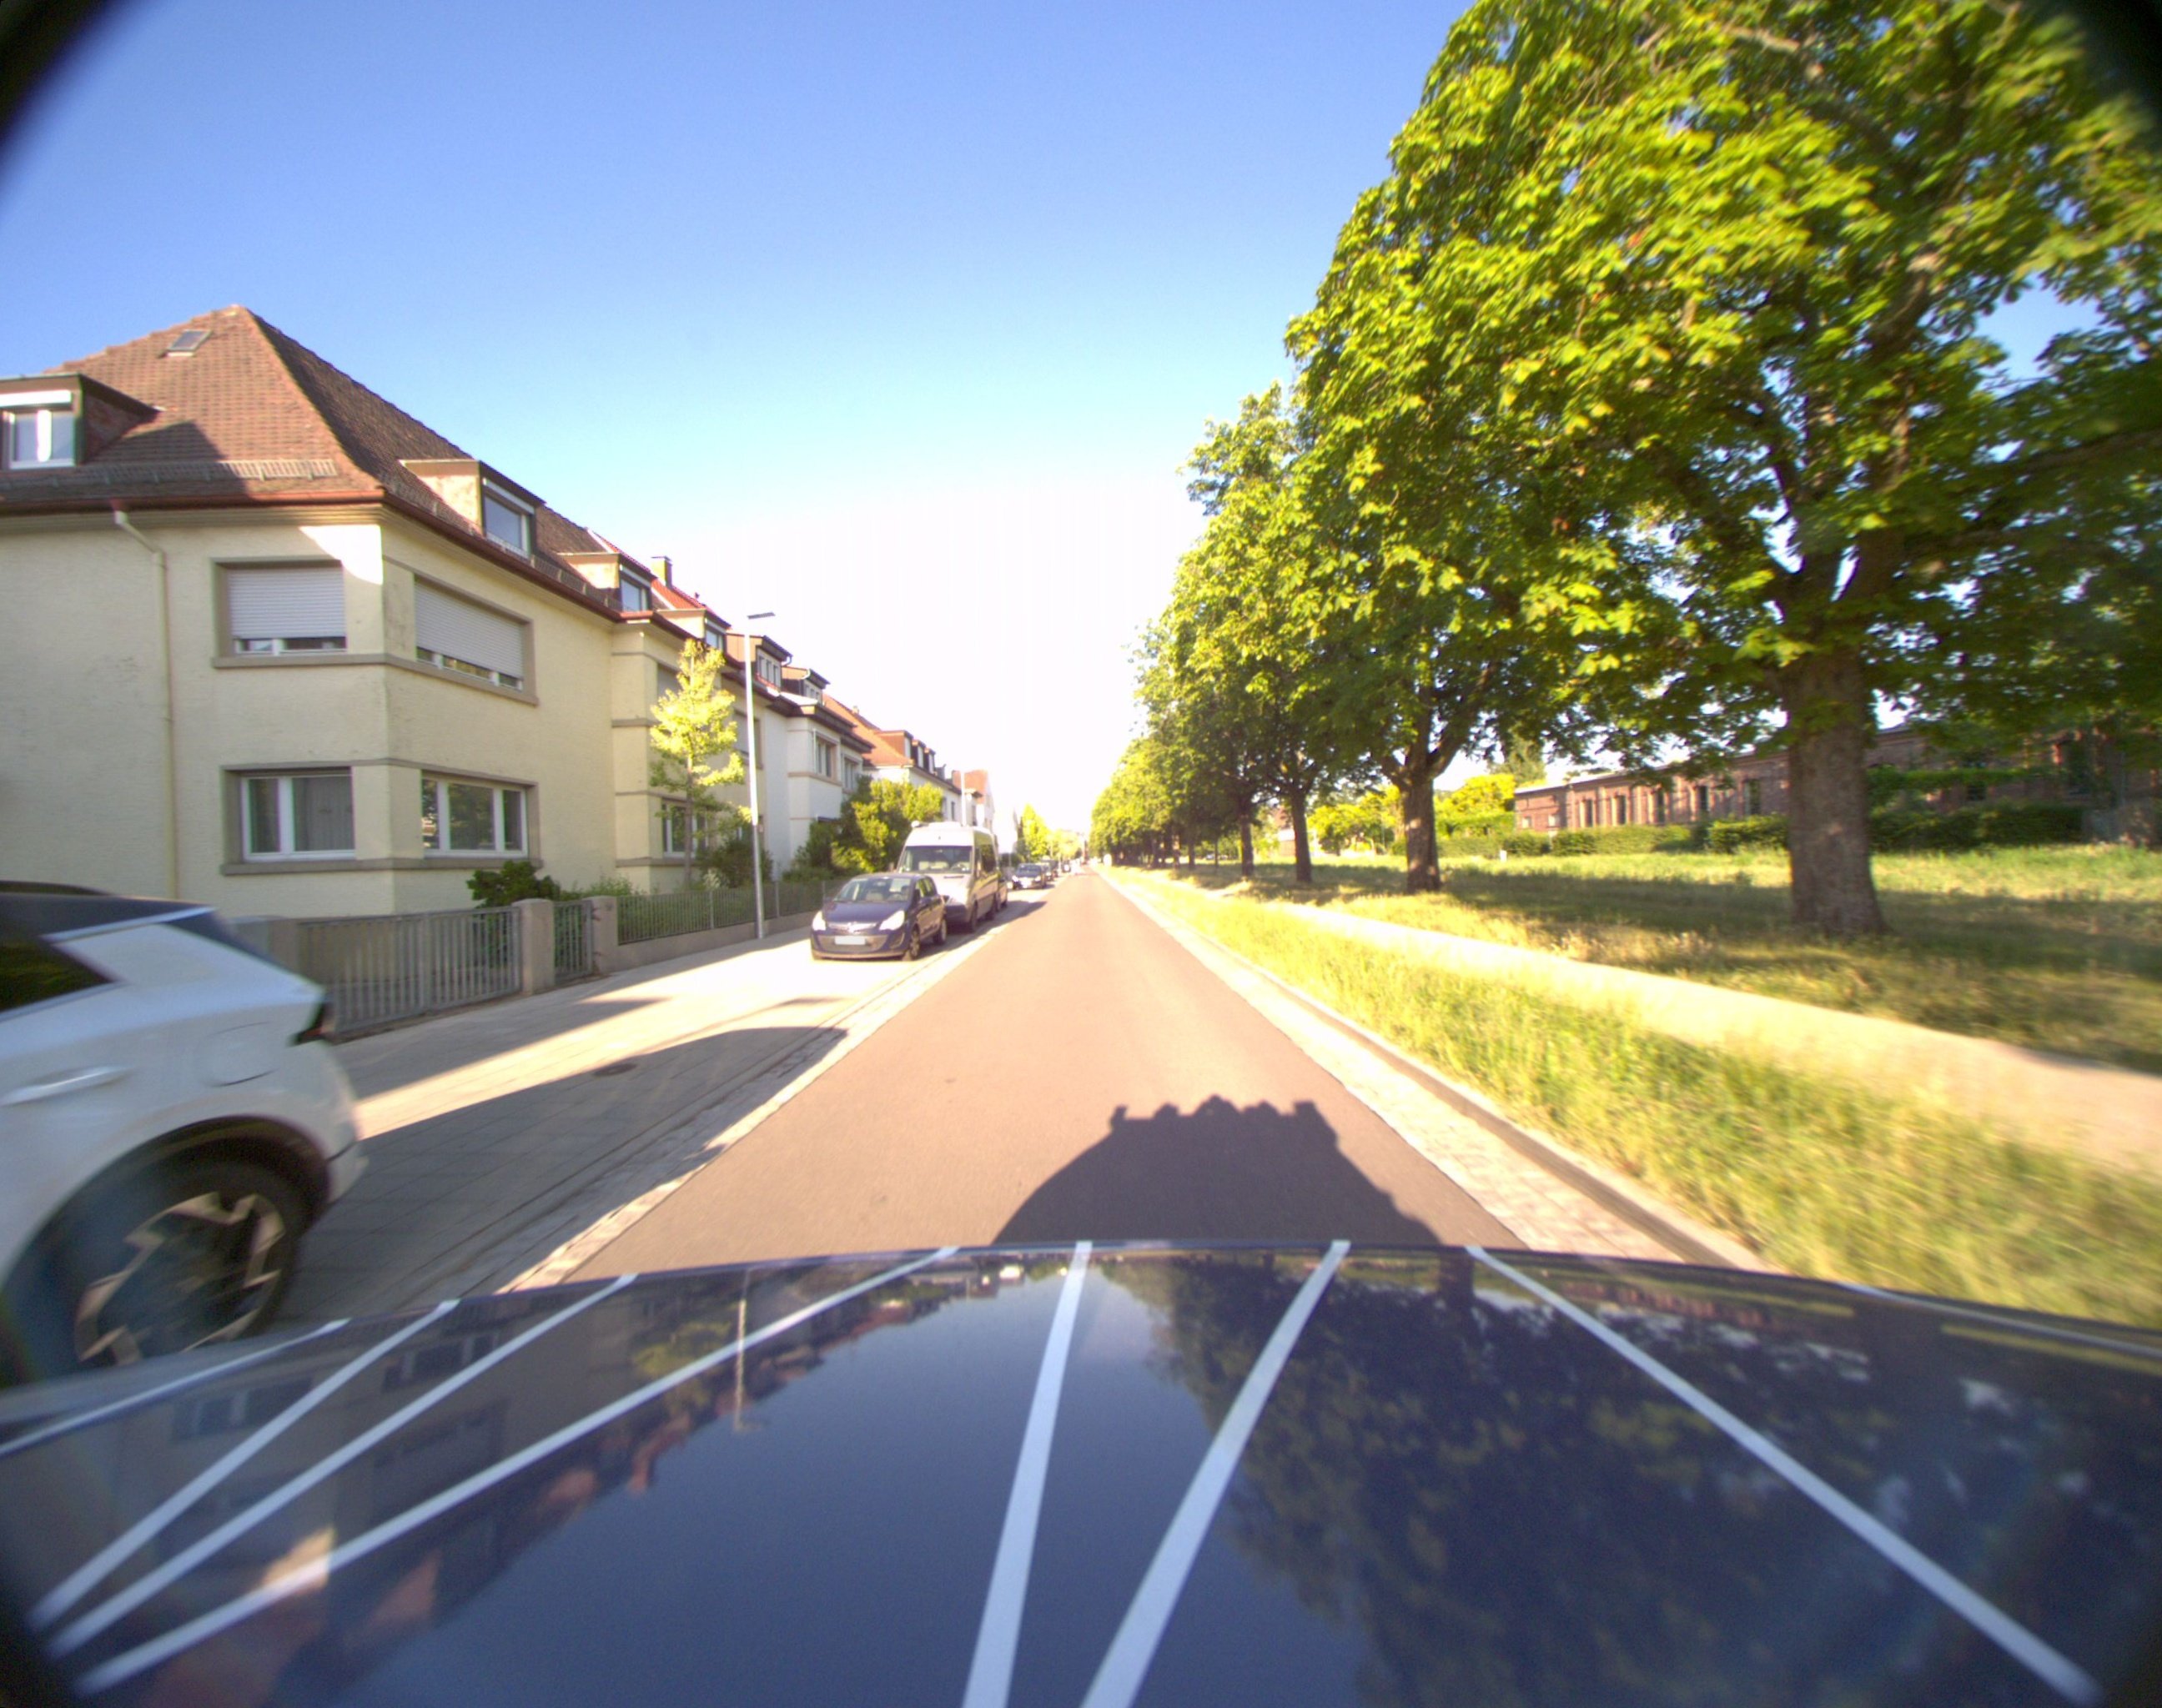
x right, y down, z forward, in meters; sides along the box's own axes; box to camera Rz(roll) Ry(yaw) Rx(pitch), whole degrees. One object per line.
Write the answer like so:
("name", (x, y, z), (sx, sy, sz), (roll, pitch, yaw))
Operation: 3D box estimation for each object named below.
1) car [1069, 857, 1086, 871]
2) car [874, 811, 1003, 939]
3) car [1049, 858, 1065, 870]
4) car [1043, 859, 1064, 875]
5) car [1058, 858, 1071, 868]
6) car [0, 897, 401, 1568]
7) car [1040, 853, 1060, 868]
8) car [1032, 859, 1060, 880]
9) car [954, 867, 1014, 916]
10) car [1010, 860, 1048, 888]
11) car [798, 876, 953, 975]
("car", (-0.449, 1.152, 91.742), (1.974, 1.630, 4.000), (0, 0, 1))
("car", (-3.471, 0.476, 19.888), (2.134, 2.837, 5.987), (-1, 0, 1))
("car", (-3.402, 1.367, 107.814), (1.974, 1.630, 4.000), (0, 0, 1))
("car", (-2.903, 1.367, 80.647), (1.974, 1.630, 4.000), (0, 0, 1))
("car", (-2.620, 1.435, 124.753), (1.974, 1.630, 4.000), (0, 0, 1))
("car", (-3.619, 0.994, 0.804), (1.782, 1.635, 4.480), (-1, 0, -1))
("car", (-3.511, 0.759, 86.616), (1.974, 1.630, 4.000), (0, 0, 1))
("car", (-2.928, 1.274, 64.227), (1.974, 1.630, 4.000), (-3, 0, 1))
("car", (-3.271, 1.224, 26.060), (1.467, 1.490, 3.357), (-2, 0, 2))
("car", (-3.135, 1.216, 46.684), (1.974, 1.630, 4.000), (0, 0, 1))
("car", (-3.541, 1.168, 13.838), (1.629, 1.431, 4.005), (0, 0, 2))
